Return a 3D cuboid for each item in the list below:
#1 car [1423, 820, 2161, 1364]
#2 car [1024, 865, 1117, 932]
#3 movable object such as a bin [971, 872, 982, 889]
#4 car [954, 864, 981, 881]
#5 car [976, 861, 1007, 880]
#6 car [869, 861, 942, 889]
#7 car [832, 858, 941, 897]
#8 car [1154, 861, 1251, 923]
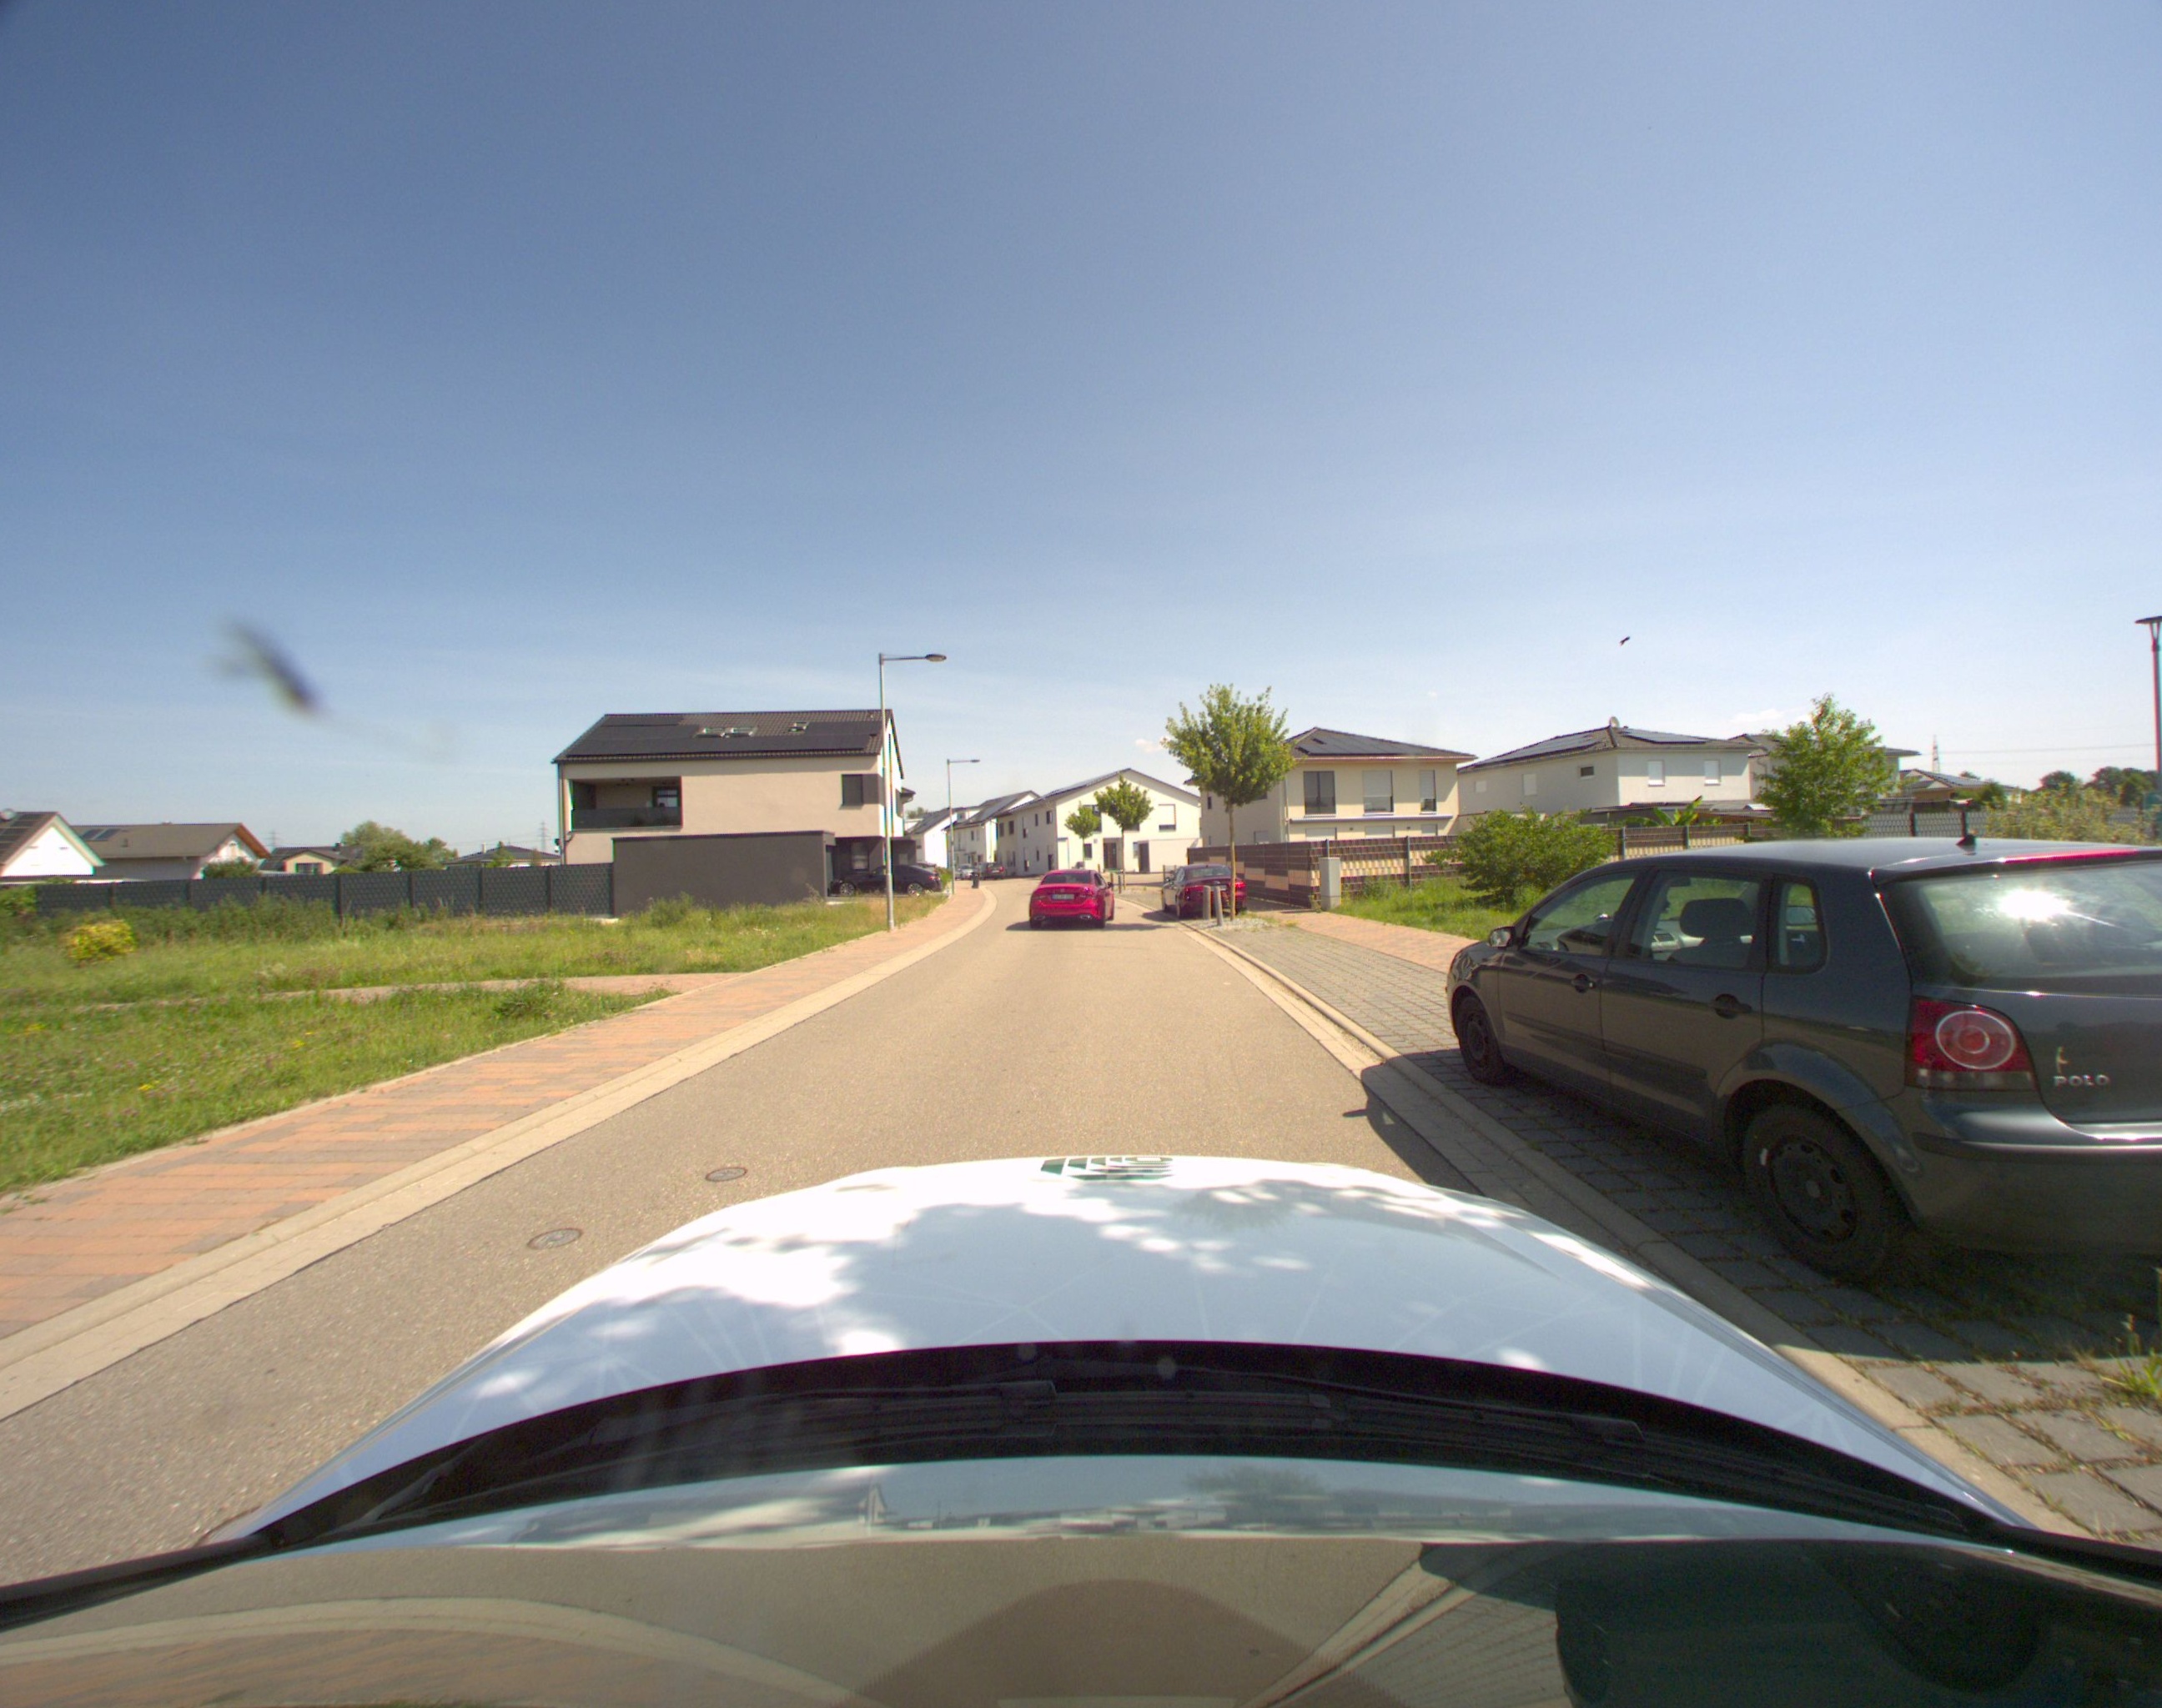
[{"bbox_3d":[3.242,0.652,4.062,1.592,1.475,3.676,-1,0,1],"label":"car"},{"bbox_3d":[-0.148,1.043,20.704,1.753,1.438,4.528,-1,0,7],"label":"car"},{"bbox_3d":[-5.886,1.506,45.839,0.532,0.936,0.526,0,-1,3],"label":"movable object such as a bin"},{"bbox_3d":[-10.456,1.687,74.993,1.682,1.464,3.918,-3,0,-20],"label":"car"},{"bbox_3d":[-7.216,1.331,65.445,1.731,1.423,3.976,-3,0,-17],"label":"car"},{"bbox_3d":[-10.333,1.235,48.247,3.979,1.486,1.752,-2,0,-4],"label":"car"},{"bbox_3d":[-8.346,1.017,35.300,4.370,1.631,1.767,1,-1,-6],"label":"car"},{"bbox_3d":[3.313,0.991,23.099,1.751,1.363,4.571,-7,0,-2],"label":"car"}]
